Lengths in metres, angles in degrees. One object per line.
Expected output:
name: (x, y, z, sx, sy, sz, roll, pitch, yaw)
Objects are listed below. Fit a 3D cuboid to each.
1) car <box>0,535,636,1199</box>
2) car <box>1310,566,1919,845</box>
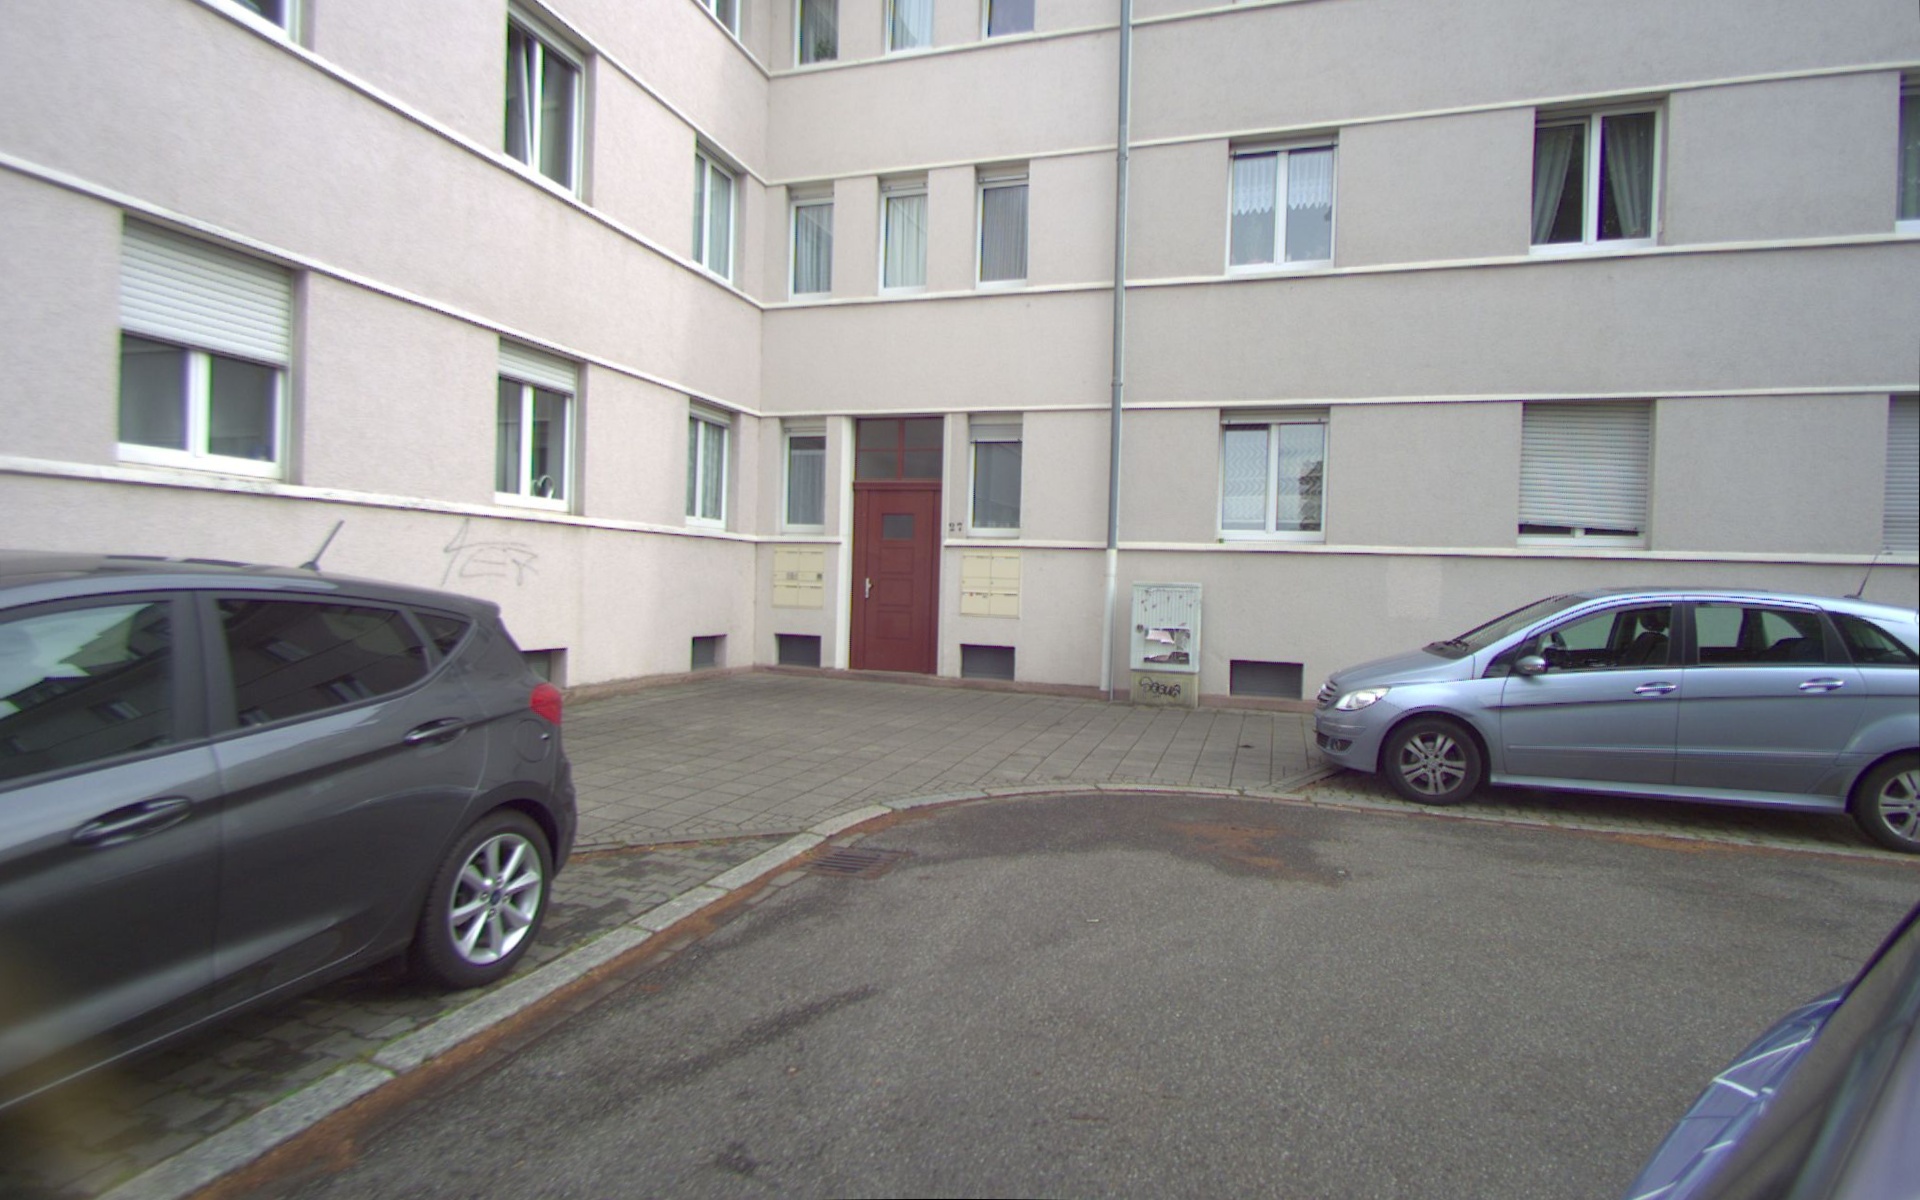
car: (-2.723, 0.603, 2.362, 1.739, 1.544, 4.057, 3, 1, 17)
car: (4.810, 0.615, 7.449, 4.150, 1.648, 1.750, 1, 1, 22)
